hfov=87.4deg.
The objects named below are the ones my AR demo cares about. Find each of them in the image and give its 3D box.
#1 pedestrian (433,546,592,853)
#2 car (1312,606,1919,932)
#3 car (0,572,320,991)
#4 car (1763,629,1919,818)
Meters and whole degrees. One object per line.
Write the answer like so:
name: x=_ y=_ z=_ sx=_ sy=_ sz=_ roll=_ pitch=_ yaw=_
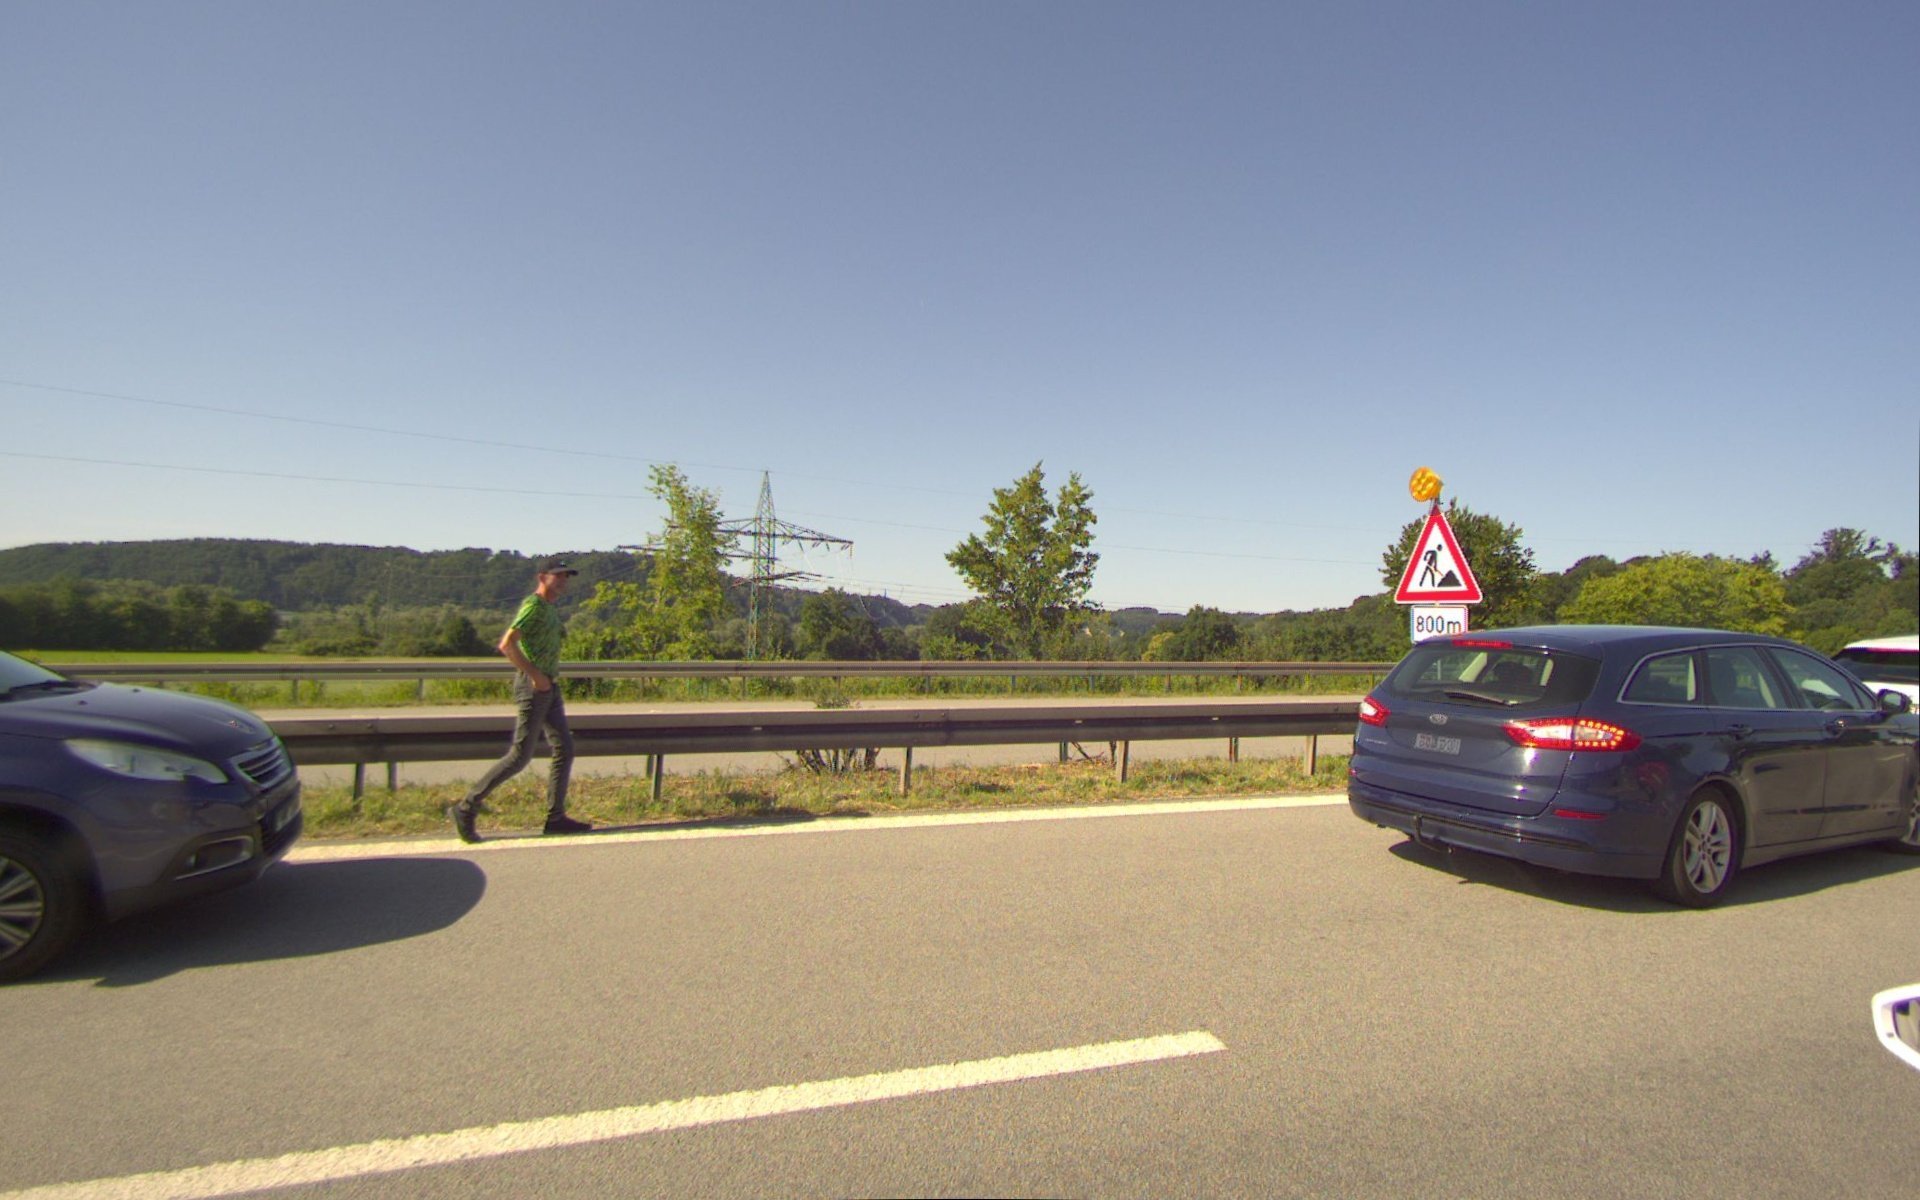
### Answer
pedestrian: x=-2.752 y=0.592 z=6.261 sx=0.801 sy=1.773 sz=0.670 roll=1 pitch=-2 yaw=-18
car: x=4.560 y=0.863 z=6.514 sx=4.436 sy=1.513 sz=1.781 roll=2 pitch=-2 yaw=-28
car: x=-5.036 y=0.639 z=4.019 sx=3.892 sy=1.555 sz=1.684 roll=1 pitch=0 yaw=-23
car: x=9.422 y=1.028 z=8.868 sx=4.145 sy=1.461 sz=1.693 roll=1 pitch=0 yaw=-19
